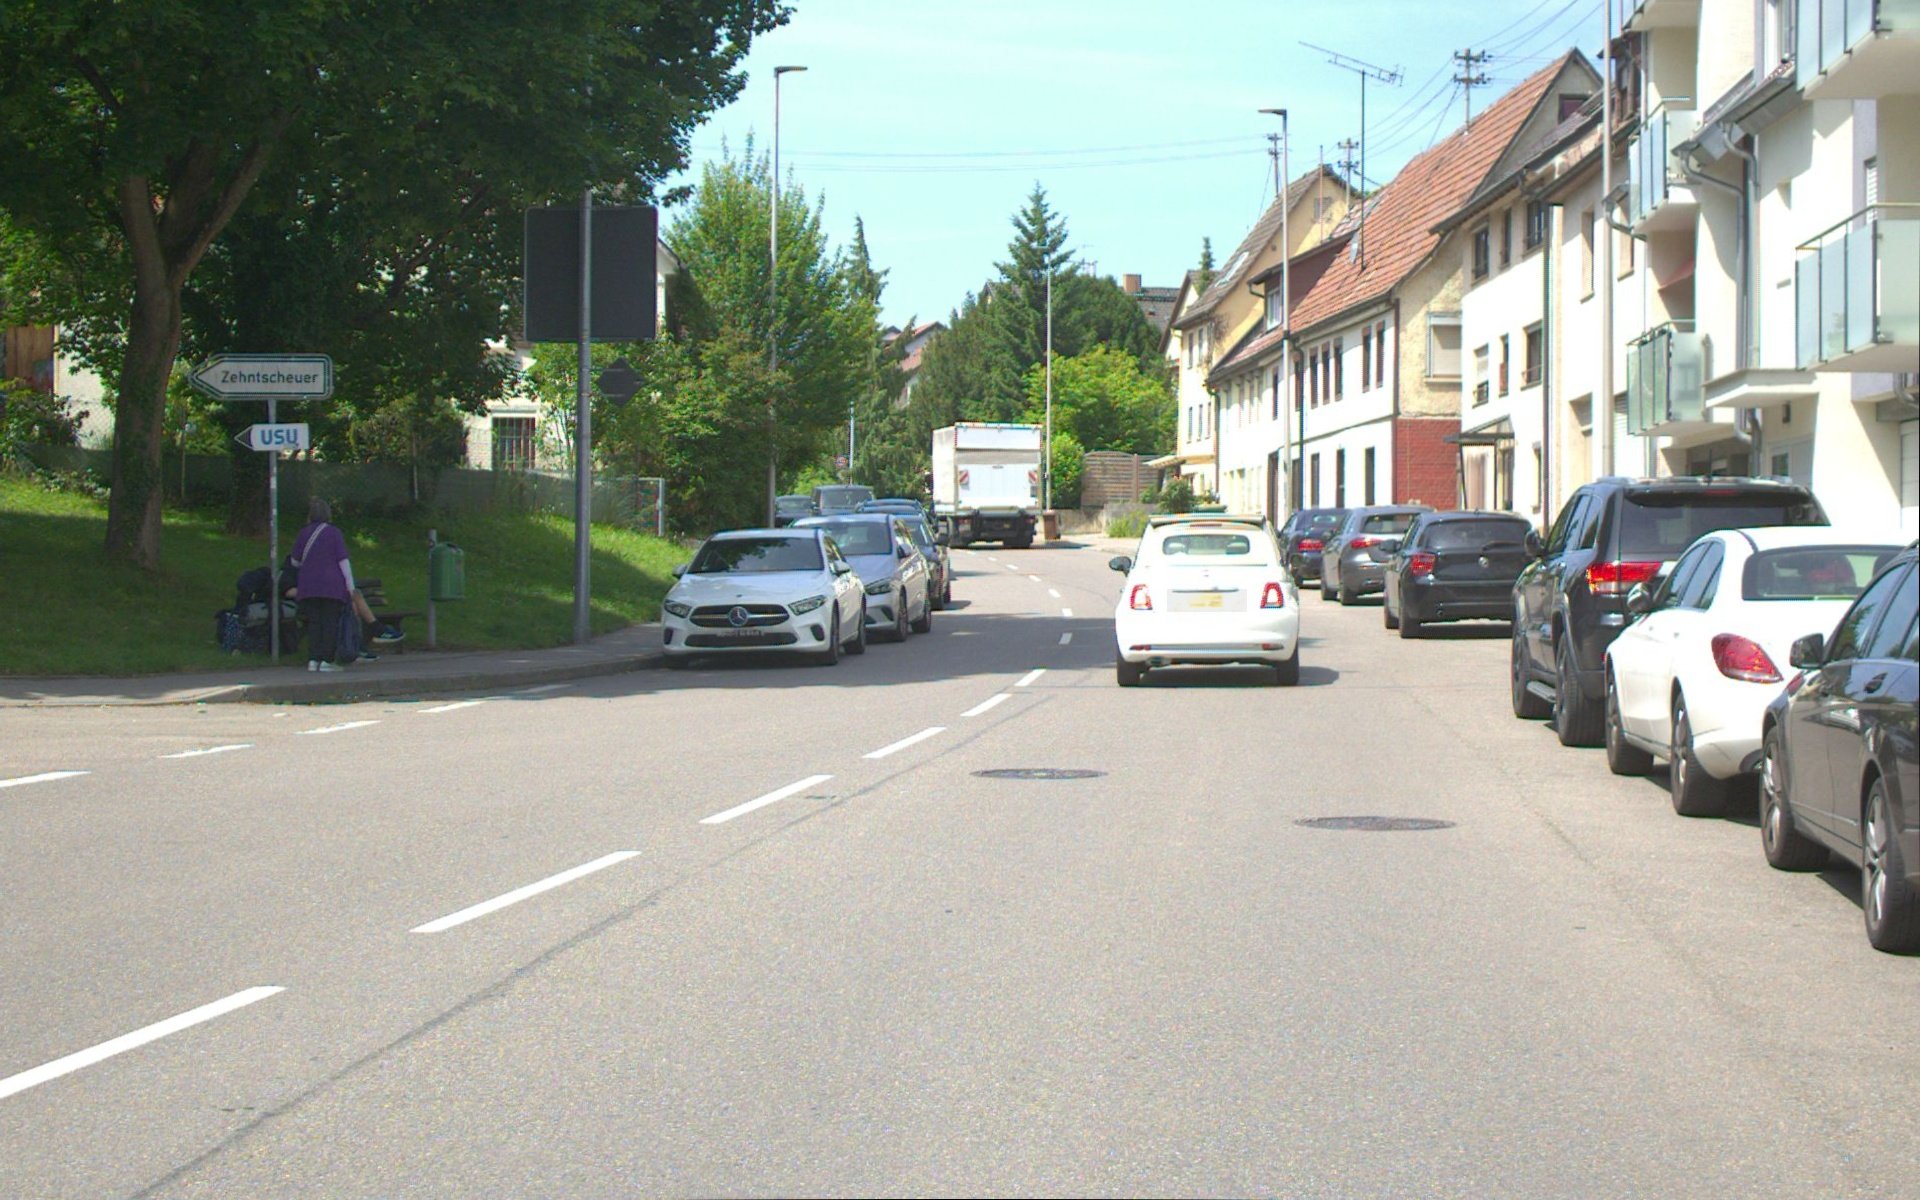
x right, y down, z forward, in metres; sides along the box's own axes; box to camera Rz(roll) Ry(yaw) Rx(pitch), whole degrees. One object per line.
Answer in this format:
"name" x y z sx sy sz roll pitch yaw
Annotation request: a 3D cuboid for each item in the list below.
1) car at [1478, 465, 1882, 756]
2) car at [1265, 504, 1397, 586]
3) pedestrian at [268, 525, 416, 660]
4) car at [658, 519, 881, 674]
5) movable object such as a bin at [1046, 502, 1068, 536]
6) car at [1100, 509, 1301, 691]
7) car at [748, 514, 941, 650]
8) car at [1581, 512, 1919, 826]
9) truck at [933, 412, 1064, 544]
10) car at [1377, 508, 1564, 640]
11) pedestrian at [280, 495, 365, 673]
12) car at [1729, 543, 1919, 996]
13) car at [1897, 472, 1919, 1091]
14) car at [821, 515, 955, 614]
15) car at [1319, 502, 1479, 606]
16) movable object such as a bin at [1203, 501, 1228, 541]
"car" 4.807 -0.011 23.635 1.954 1.710 4.716 3 2 3
"car" 6.392 -0.980 59.595 1.665 1.348 4.188 0 2 -2
"pedestrian" -5.995 -0.078 33.381 1.237 1.265 0.646 2 1 9
"car" -1.962 -0.083 36.628 1.755 1.462 4.362 -2 2 5
"movable object such as a bin" 3.077 -2.572 109.219 0.494 1.030 0.548 -3 2 17
"car" 2.231 -0.056 31.630 1.725 1.555 4.000 0 2 5
"car" -1.378 -0.266 42.609 1.773 1.522 4.221 -2 2 6
"car" 4.550 0.269 18.562 1.789 1.450 4.716 0 2 3
"truck" 1.081 -3.585 102.730 3.068 3.761 7.869 -1 1 -5
"car" 5.861 -0.338 39.862 1.797 1.419 4.290 -1 1 4
"pedestrian" -5.851 -0.152 31.530 0.730 1.611 0.629 1 1 -11
"car" 4.153 0.521 13.341 1.789 1.415 4.357 0 2 6
"car" 3.311 0.542 7.163 1.844 1.664 4.655 1 1 6
"car" -1.093 -0.596 54.382 1.804 1.419 4.928 -1 2 2
"car" 6.422 -0.710 50.674 1.794 1.398 4.412 -1 2 0
"movable object such as a bin" 6.786 -2.096 91.421 0.546 1.030 0.551 -3 2 -3
